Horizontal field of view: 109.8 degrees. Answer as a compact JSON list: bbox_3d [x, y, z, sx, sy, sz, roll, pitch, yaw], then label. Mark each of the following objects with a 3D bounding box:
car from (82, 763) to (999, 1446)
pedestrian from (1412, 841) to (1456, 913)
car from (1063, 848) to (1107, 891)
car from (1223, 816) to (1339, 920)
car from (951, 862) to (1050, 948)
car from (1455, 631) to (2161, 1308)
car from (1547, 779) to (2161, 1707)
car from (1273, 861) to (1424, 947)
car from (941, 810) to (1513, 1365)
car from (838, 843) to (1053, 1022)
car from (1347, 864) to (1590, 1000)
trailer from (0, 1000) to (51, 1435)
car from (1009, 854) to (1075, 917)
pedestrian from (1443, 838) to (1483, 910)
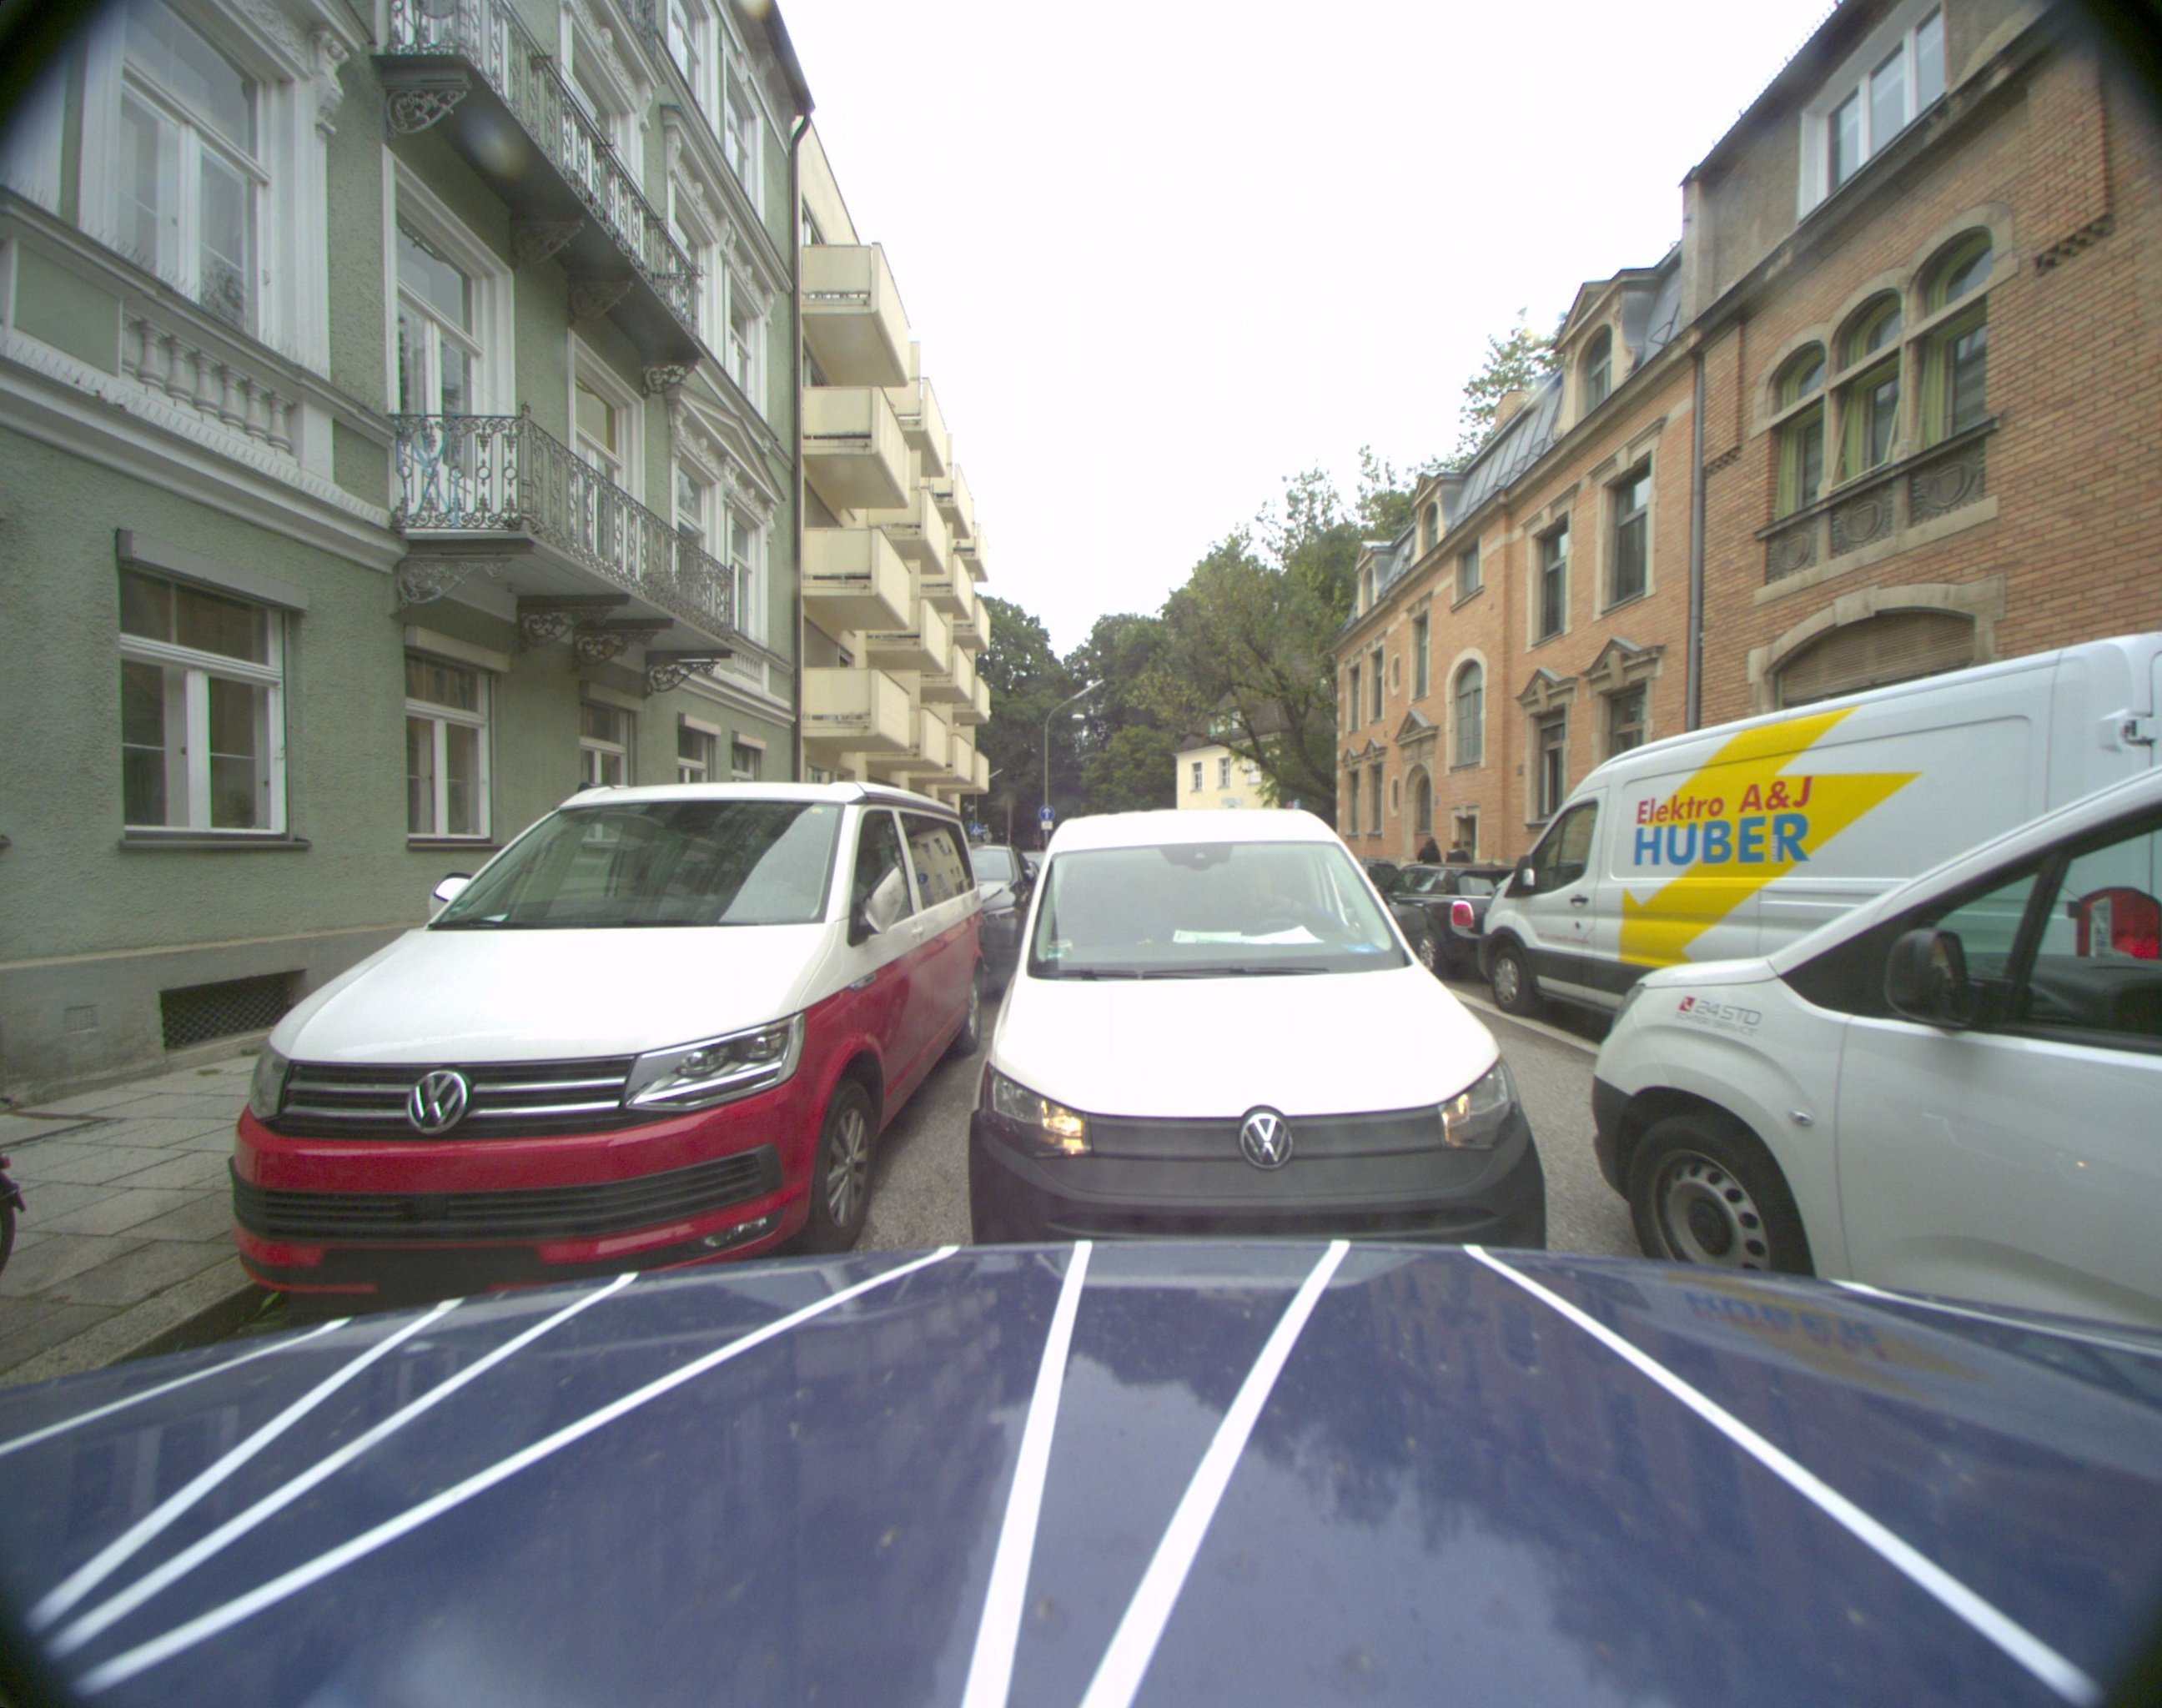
[{"bbox_3d":[-1.782,0.715,4.435,1.858,1.885,4.592,-2,0,2],"label":"car"},{"bbox_3d":[8.148,0.516,17.559,0.634,1.623,0.675,2,1,2],"label":"pedestrian"},{"bbox_3d":[0.197,0.620,32.918,1.766,1.740,3.999,1,1,0],"label":"car"},{"bbox_3d":[5.444,0.352,21.360,2.118,2.525,4.421,3,0,2],"label":"car"},{"bbox_3d":[-1.573,0.960,16.071,1.551,1.488,3.978,-2,0,1],"label":"car"},{"bbox_3d":[4.905,0.426,5.353,1.986,2.464,5.223,1,1,1],"label":"car"},{"bbox_3d":[2.619,0.776,0.739,1.775,1.793,4.573,0,1,4],"label":"car"},{"bbox_3d":[5.266,0.906,15.509,1.694,1.434,3.984,2,0,1],"label":"car"},{"bbox_3d":[0.548,0.743,4.440,1.776,1.762,4.000,-2,1,2],"label":"car"},{"bbox_3d":[-1.449,0.800,9.922,1.832,1.747,4.554,-2,0,1],"label":"car"},{"bbox_3d":[5.015,0.914,10.401,1.526,1.434,3.541,2,0,1],"label":"car"},{"bbox_3d":[-3.520,0.996,1.128,0.944,1.177,2.165,3,1,6],"label":"trailer"},{"bbox_3d":[-1.030,0.814,21.665,1.551,1.562,3.978,-2,0,1],"label":"car"},{"bbox_3d":[8.865,0.460,17.639,0.634,1.623,0.467,2,1,2],"label":"pedestrian"}]
